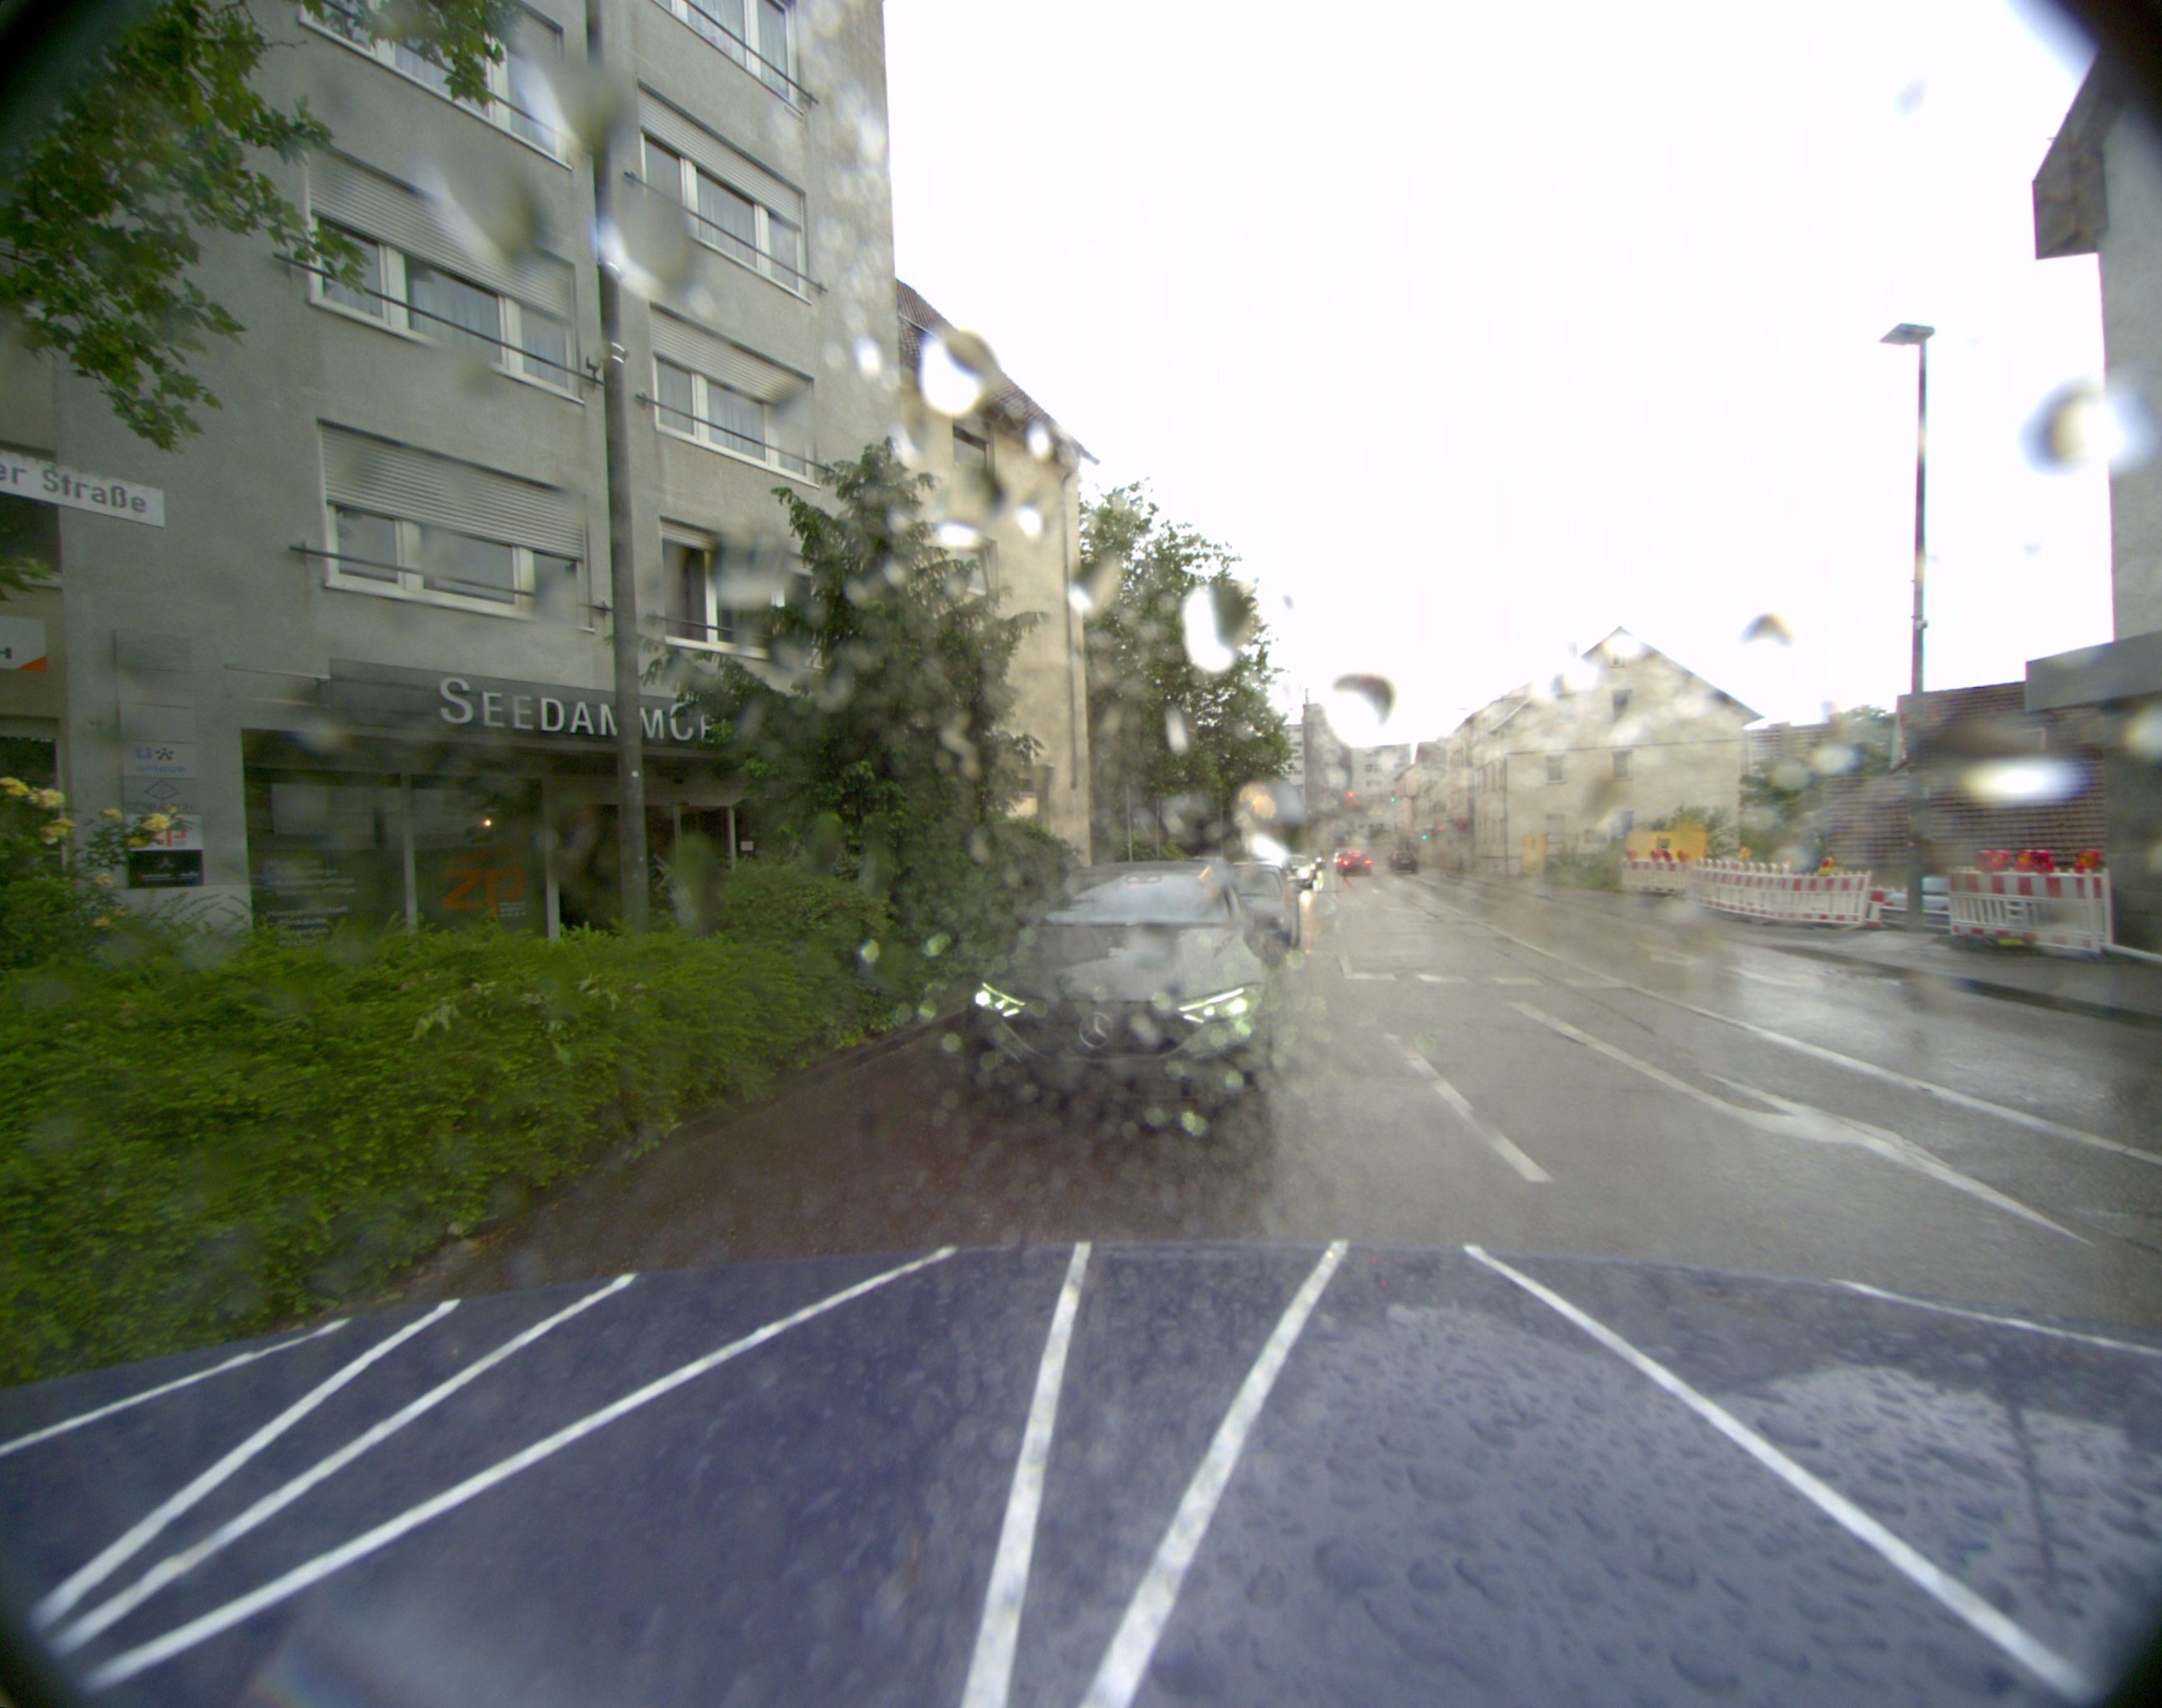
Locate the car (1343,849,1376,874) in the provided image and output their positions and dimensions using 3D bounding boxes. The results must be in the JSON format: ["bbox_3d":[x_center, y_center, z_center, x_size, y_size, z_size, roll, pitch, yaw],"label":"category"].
[{"bbox_3d":[18.247,0.464,49.876,1.811,1.556,4.005,-2,0,18],"label":"car"}]

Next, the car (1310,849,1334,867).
[{"bbox_3d":[21.508,0.353,67.983,1.851,1.469,4.004,-2,0,15],"label":"car"}]

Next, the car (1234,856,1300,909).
[{"bbox_3d":[6.237,0.883,25.183,1.811,1.556,4.005,-2,0,17],"label":"car"}]

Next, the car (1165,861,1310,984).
[{"bbox_3d":[2.703,0.945,12.249,1.771,1.524,4.383,-2,0,18],"label":"car"}]

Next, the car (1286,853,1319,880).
[{"bbox_3d":[13.900,0.740,47.511,1.830,1.542,4.005,-4,-1,17],"label":"car"}]

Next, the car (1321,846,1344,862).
[{"bbox_3d":[27.362,0.004,82.816,1.996,1.542,4.007,0,-4,14],"label":"car"}]

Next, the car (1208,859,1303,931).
[{"bbox_3d":[4.375,0.930,18.833,1.996,1.444,4.004,-3,0,15],"label":"car"}]

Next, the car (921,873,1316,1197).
[{"bbox_3d":[0.519,0.991,6.054,1.997,1.484,4.317,-2,0,10],"label":"car"}]

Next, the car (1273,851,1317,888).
[{"bbox_3d":[10.282,0.688,36.378,1.842,1.612,4.005,-2,0,17],"label":"car"}]

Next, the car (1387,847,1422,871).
[{"bbox_3d":[21.933,0.314,51.598,1.811,1.556,4.005,-2,0,18],"label":"car"}]
